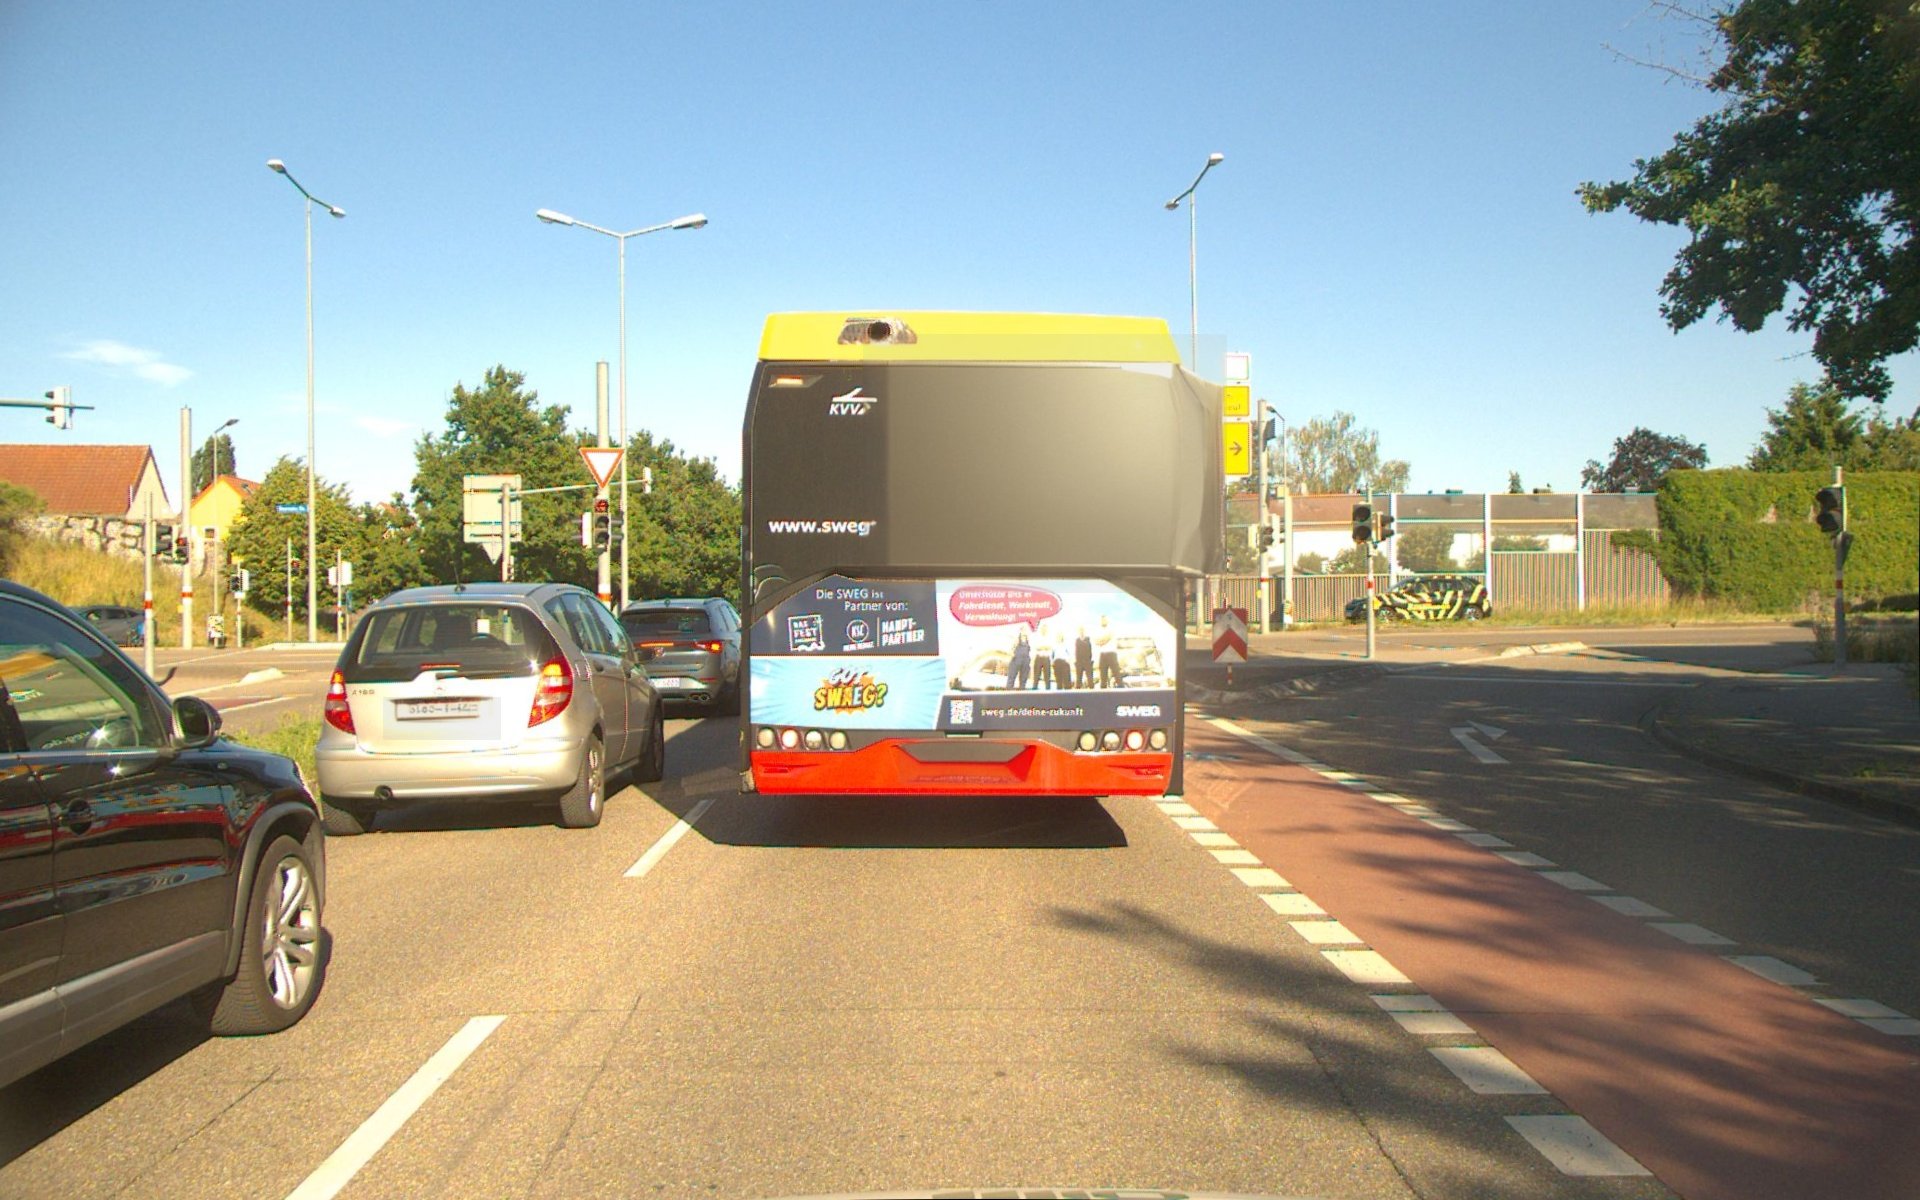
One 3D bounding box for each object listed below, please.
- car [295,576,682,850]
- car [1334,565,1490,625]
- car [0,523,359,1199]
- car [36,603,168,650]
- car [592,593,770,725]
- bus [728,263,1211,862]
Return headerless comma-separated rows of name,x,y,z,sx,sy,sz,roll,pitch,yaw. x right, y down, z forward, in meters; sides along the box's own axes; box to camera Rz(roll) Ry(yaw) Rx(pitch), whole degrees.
car,-3.221,0.682,12.132,1.725,1.617,3.999,-2,0,-1
car,13.106,-0.145,48.120,3.988,1.552,1.766,-2,0,-6
car,-3.149,0.687,4.305,1.736,1.682,3.999,-2,0,-1
car,-28.362,0.862,54.738,1.546,1.484,3.579,-1,0,37
car,-3.452,0.676,21.060,1.658,1.484,3.750,-2,0,-1
bus,0.018,-0.253,14.895,2.589,3.222,11.860,0,0,0
